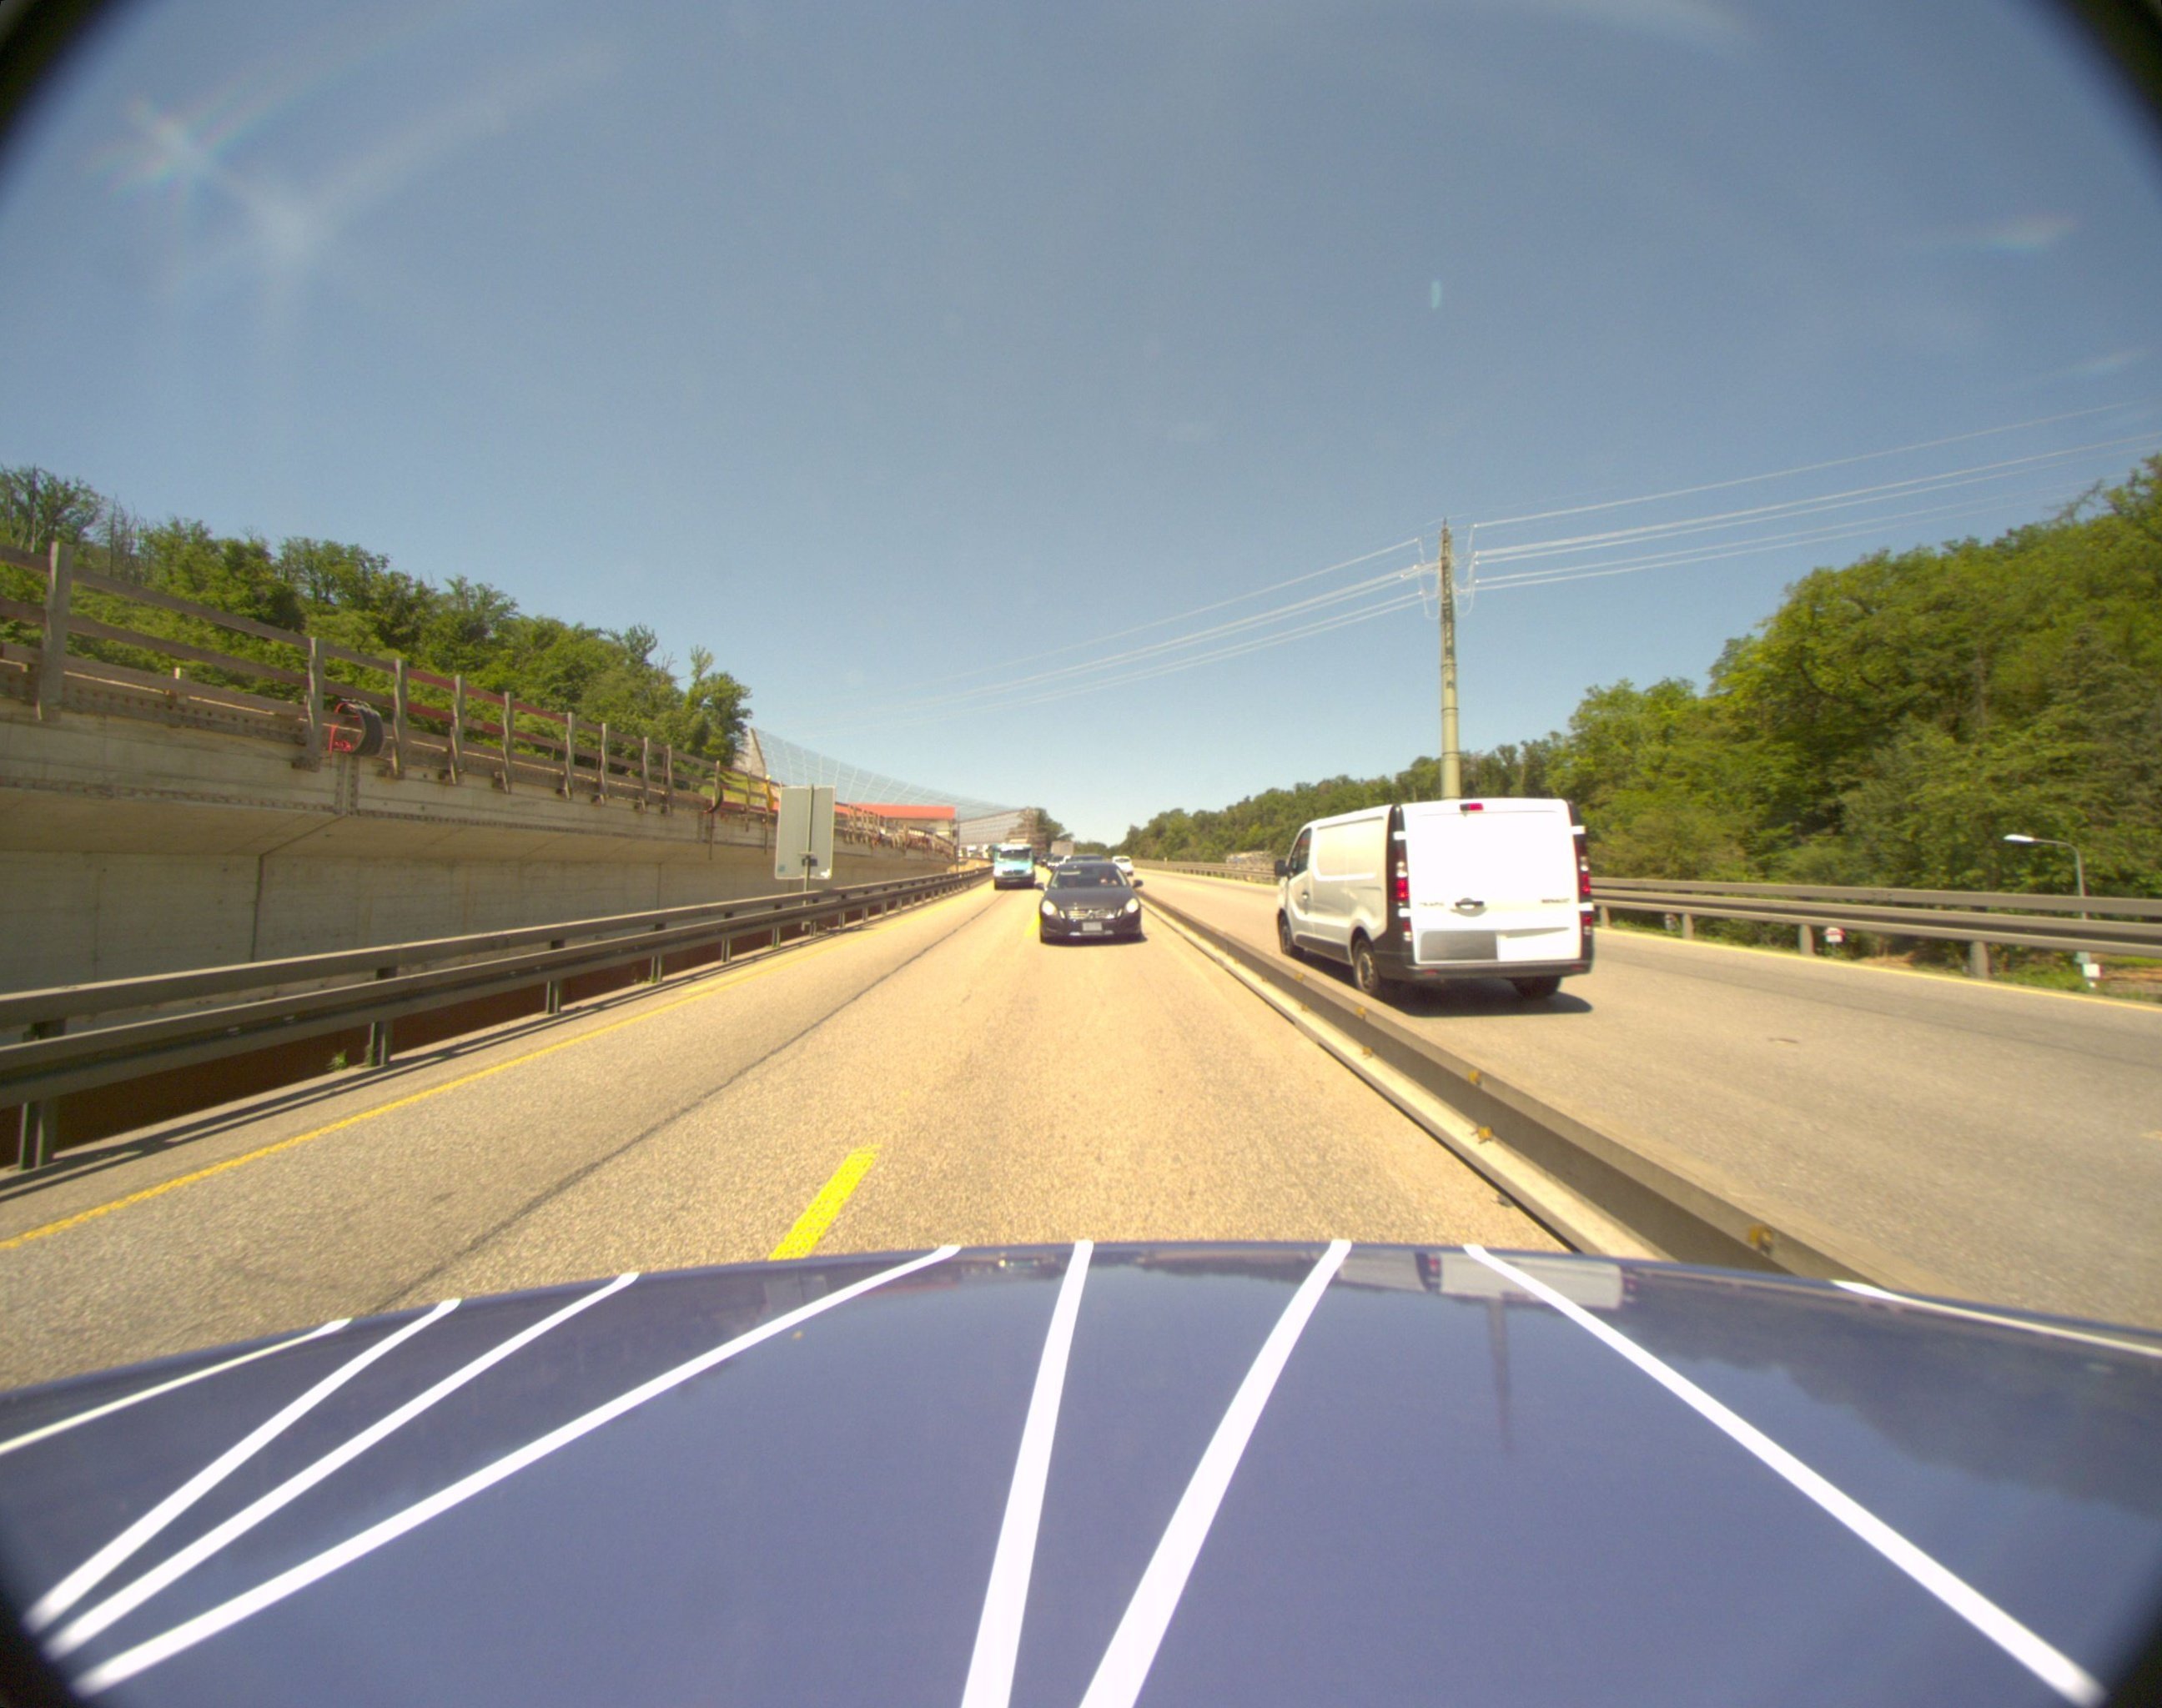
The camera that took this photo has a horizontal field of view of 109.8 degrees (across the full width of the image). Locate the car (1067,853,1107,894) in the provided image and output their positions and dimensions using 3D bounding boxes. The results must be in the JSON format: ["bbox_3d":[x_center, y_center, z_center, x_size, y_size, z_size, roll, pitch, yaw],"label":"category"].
[{"bbox_3d":[0.282,0.754,31.650,1.519,1.543,3.861,-2,1,2],"label":"car"}]

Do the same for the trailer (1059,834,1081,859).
[{"bbox_3d":[-2.245,-1.460,146.910,3.499,4.460,12.920,-2,1,-4],"label":"trailer"}]

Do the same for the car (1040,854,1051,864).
[{"bbox_3d":[-5.638,0.750,119.634,1.647,1.366,3.343,-2,1,-3],"label":"car"}]

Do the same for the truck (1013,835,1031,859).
[{"bbox_3d":[-9.337,-1.104,120.336,2.472,3.464,9.862,-2,1,-6],"label":"truck"}]

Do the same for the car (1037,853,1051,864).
[{"bbox_3d":[-5.042,0.635,103.162,1.648,1.366,3.342,-2,1,-7],"label":"car"}]

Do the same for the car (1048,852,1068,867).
[{"bbox_3d":[-2.224,0.522,73.189,1.646,1.366,3.345,-2,1,2],"label":"car"}]

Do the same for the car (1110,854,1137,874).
[{"bbox_3d":[3.199,0.735,57.215,1.751,1.418,3.709,-1,0,-1],"label":"car"}]

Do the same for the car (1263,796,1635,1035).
[{"bbox_3d":[3.697,0.498,8.860,1.998,1.999,4.857,-1,1,0],"label":"car"}]

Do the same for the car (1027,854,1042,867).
[{"bbox_3d":[-5.634,0.783,91.904,1.648,1.366,3.342,-2,1,-7],"label":"car"}]

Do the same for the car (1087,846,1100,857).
[{"bbox_3d":[1.784,-0.336,109.686,1.704,1.484,3.999,-1,1,-1],"label":"car"}]

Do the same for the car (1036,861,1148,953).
[{"bbox_3d":[0.137,0.906,15.067,1.844,1.475,4.562,-2,0,-1],"label":"car"}]

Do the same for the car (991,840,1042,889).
[{"bbox_3d":[-3.263,0.483,39.964,2.217,2.312,6.900,-1,1,-1],"label":"car"}]

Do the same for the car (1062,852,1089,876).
[{"bbox_3d":[-0.364,0.702,55.621,1.736,1.557,3.619,-2,1,1],"label":"car"}]
